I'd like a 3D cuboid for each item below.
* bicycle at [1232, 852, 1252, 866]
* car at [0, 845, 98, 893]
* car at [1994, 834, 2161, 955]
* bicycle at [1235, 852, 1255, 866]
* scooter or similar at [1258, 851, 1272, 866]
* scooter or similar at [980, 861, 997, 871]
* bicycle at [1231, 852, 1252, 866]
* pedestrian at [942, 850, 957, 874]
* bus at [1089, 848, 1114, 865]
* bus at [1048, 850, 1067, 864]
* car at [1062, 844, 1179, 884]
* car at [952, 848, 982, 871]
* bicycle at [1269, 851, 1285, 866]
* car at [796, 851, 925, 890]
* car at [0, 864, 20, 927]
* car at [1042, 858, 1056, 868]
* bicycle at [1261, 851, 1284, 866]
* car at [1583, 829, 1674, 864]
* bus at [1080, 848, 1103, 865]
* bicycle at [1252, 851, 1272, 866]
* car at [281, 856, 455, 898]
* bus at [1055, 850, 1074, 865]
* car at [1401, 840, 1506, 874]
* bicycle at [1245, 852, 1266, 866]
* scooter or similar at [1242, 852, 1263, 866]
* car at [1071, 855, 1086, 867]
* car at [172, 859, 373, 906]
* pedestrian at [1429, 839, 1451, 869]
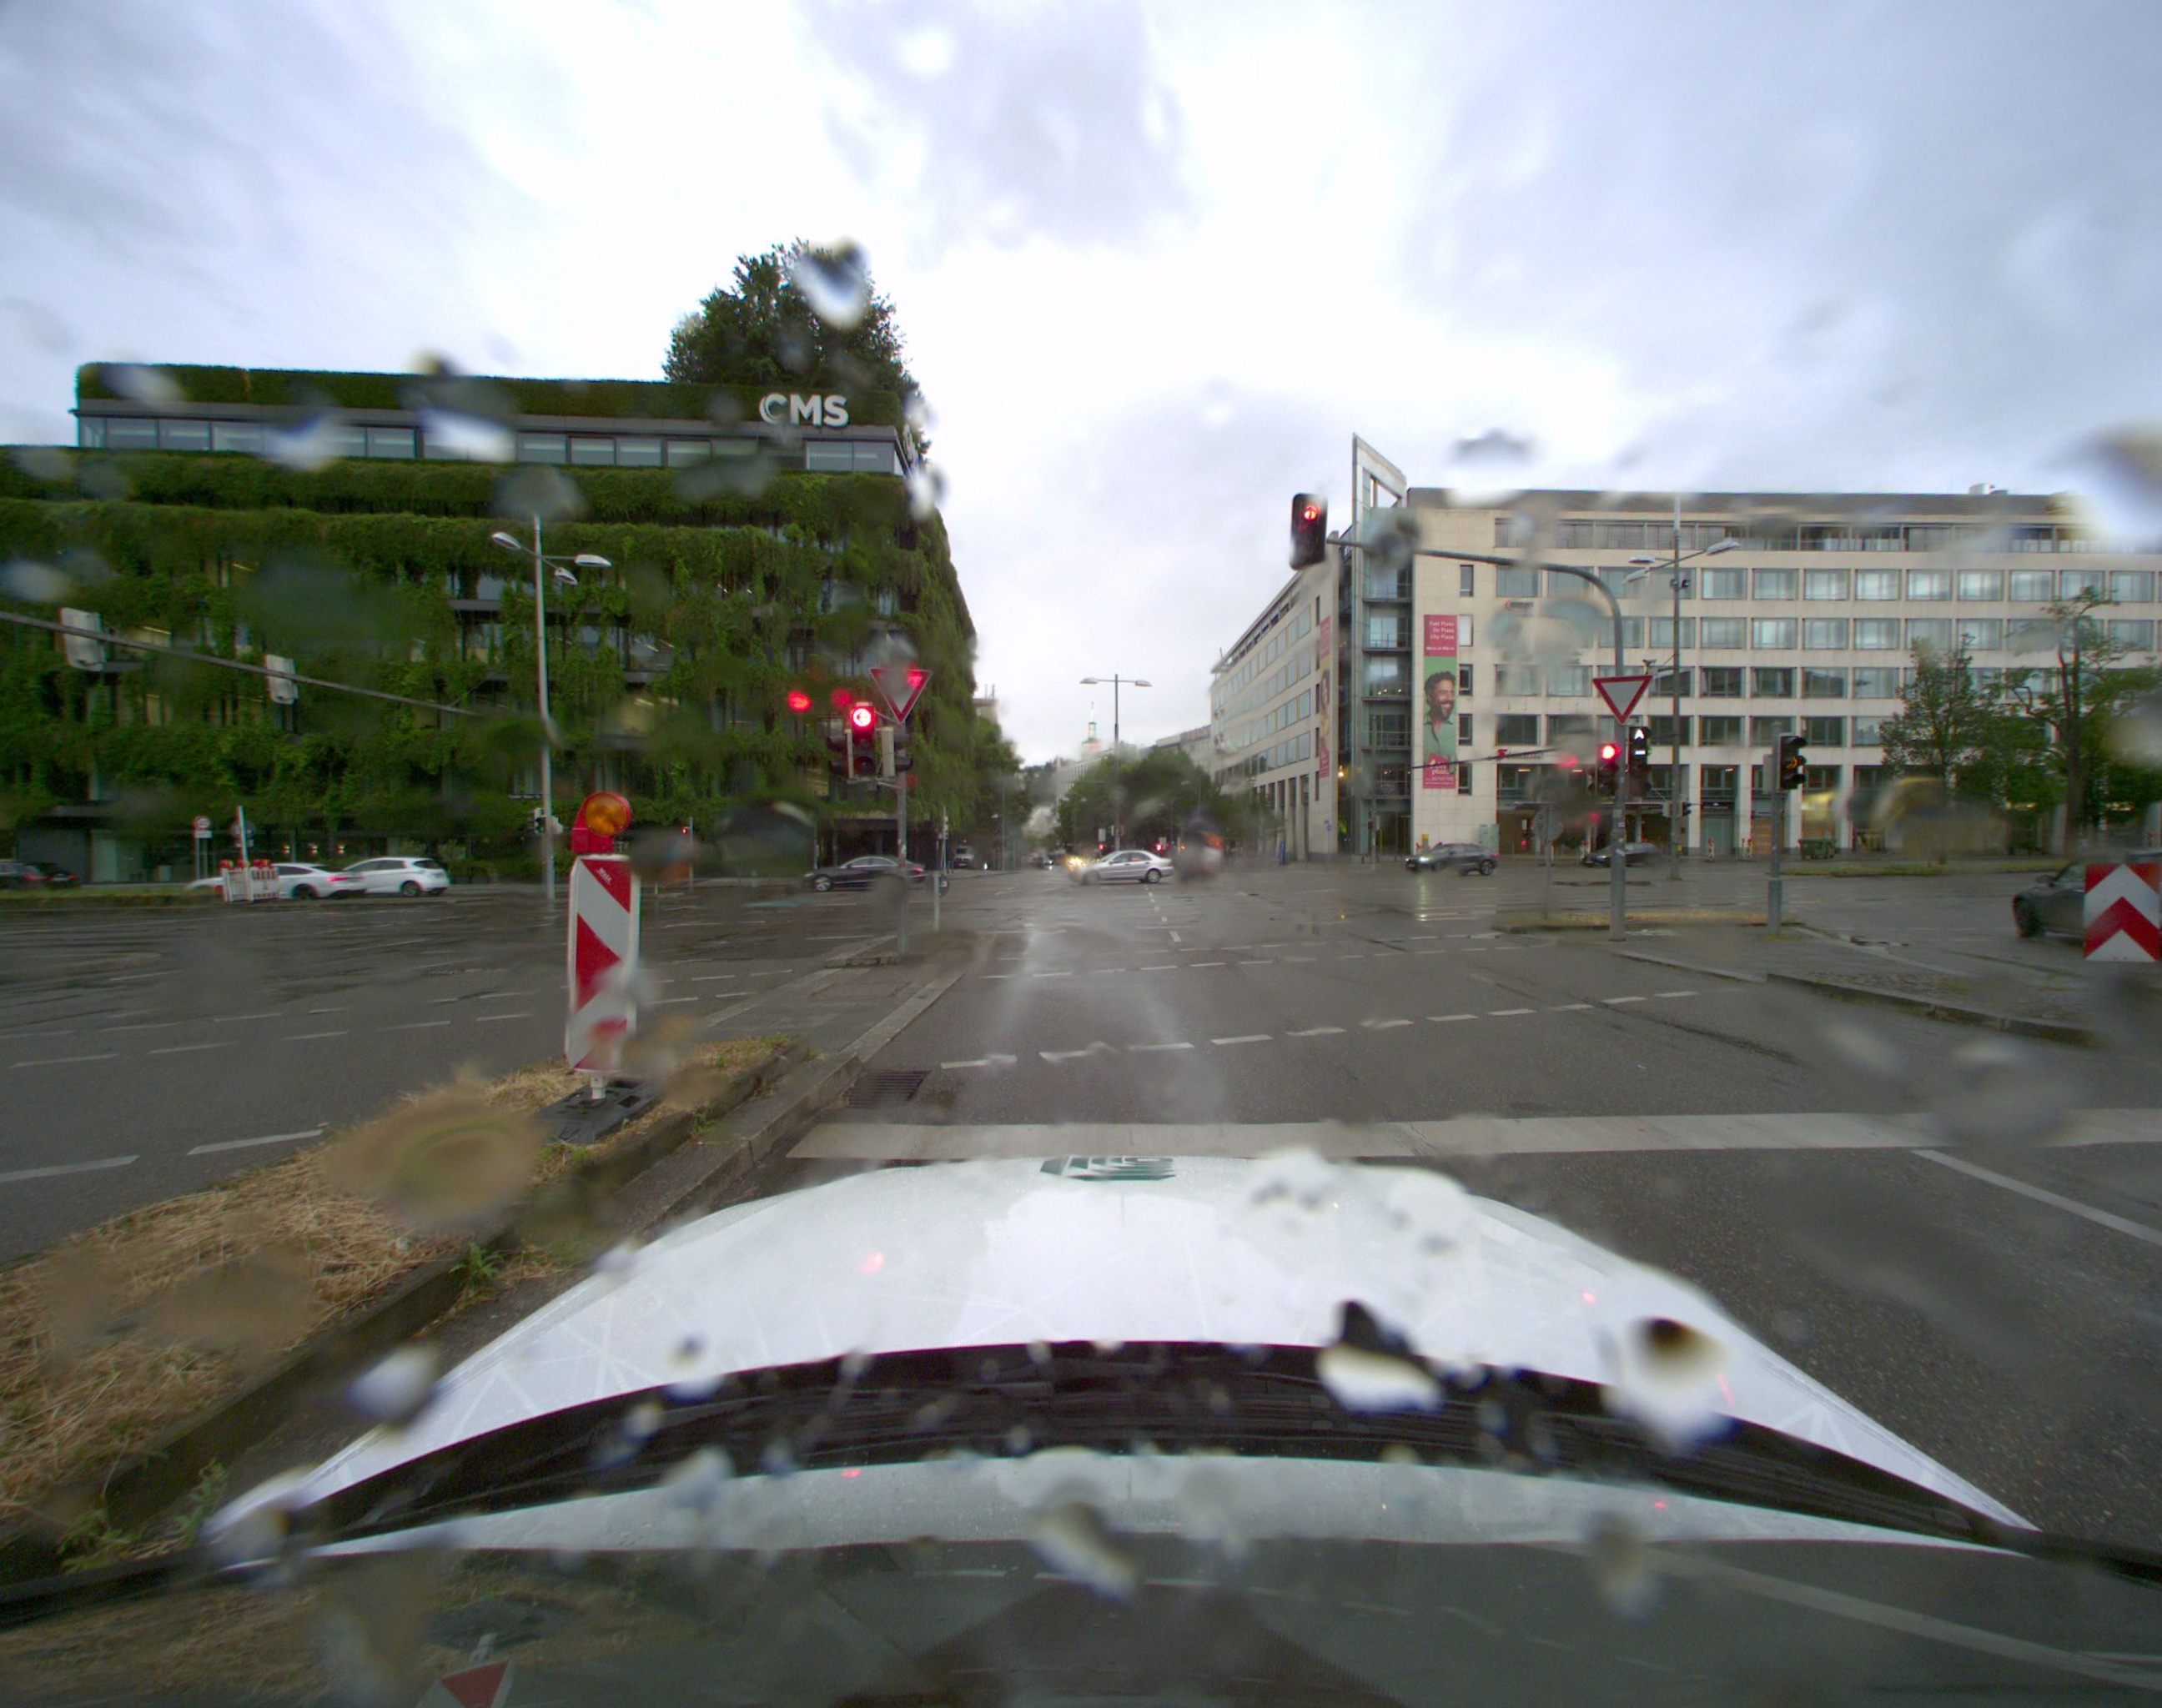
[{"bbox_3d":[14.476,0.449,73.235,1.770,1.194,0.587,0,-1,3],"label":"bicycle"},{"bbox_3d":[-38.645,0.531,28.958,4.406,1.638,1.992,0,-1,-11],"label":"car"},{"bbox_3d":[14.719,0.471,11.311,1.722,1.455,3.745,-1,0,32],"label":"car"},{"bbox_3d":[14.943,0.453,74.141,1.770,1.194,0.587,0,-1,3],"label":"bicycle"},{"bbox_3d":[14.424,0.374,63.980,0.951,1.194,0.458,-1,-1,42],"label":"scooter or similar"},{"bbox_3d":[-9.424,1.186,82.947,0.616,1.004,1.671,-1,0,40],"label":"scooter or similar"},{"bbox_3d":[14.300,0.445,72.604,1.770,1.194,0.587,0,-1,3],"label":"bicycle"},{"bbox_3d":[-9.353,0.572,58.112,0.930,1.644,0.774,0,-1,1],"label":"pedestrian"},{"bbox_3d":[3.681,0.421,146.089,2.631,2.995,7.415,-1,0,-13],"label":"bus"},{"bbox_3d":[-5.239,0.693,180.716,2.631,2.995,7.415,-1,0,-13],"label":"bus"},{"bbox_3d":[1.690,0.410,35.218,4.722,1.476,1.992,-2,3,-12],"label":"car"},{"bbox_3d":[-9.555,0.446,68.735,1.863,1.839,4.001,0,-1,2],"label":"car"},{"bbox_3d":[16.056,0.385,66.737,0.579,1.194,1.794,-1,-1,40],"label":"bicycle"},{"bbox_3d":[-8.791,0.651,32.768,4.853,1.477,1.990,0,-2,-14],"label":"car"},{"bbox_3d":[-27.335,1.001,18.307,3.981,1.475,1.996,-1,0,-6],"label":"car"},{"bbox_3d":[-6.107,1.711,154.265,2.163,1.765,4.816,-2,0,-9],"label":"car"},{"bbox_3d":[15.205,0.374,64.646,1.607,1.194,0.590,-1,-1,27],"label":"bicycle"},{"bbox_3d":[32.778,-0.449,48.821,4.648,2.014,1.545,0,-1,-7],"label":"car"},{"bbox_3d":[1.988,0.441,153.281,2.631,2.995,7.415,-1,0,-13],"label":"bus"},{"bbox_3d":[14.733,0.390,66.210,0.588,1.194,1.768,0,-1,-26],"label":"bicycle"},{"bbox_3d":[-27.314,0.841,31.373,4.690,1.512,1.802,0,-1,-14],"label":"car"},{"bbox_3d":[-3.543,0.695,173.573,2.631,2.995,7.294,-1,0,-13],"label":"bus"},{"bbox_3d":[17.968,0.143,39.305,4.480,1.609,1.823,0,-1,-14],"label":"car"},{"bbox_3d":[15.292,0.428,71.410,1.770,1.194,0.587,0,-1,3],"label":"bicycle"},{"bbox_3d":[14.912,0.426,70.796,1.770,1.194,0.587,0,-1,3],"label":"scooter or similar"},{"bbox_3d":[-0.370,1.061,126.892,2.158,1.765,5.109,2,-1,-1],"label":"car"},{"bbox_3d":[-28.135,0.980,28.525,4.687,1.512,1.803,2,-1,-12],"label":"car"},{"bbox_3d":[21.792,0.016,49.392,0.958,1.816,0.837,0,-1,1],"label":"pedestrian"}]
